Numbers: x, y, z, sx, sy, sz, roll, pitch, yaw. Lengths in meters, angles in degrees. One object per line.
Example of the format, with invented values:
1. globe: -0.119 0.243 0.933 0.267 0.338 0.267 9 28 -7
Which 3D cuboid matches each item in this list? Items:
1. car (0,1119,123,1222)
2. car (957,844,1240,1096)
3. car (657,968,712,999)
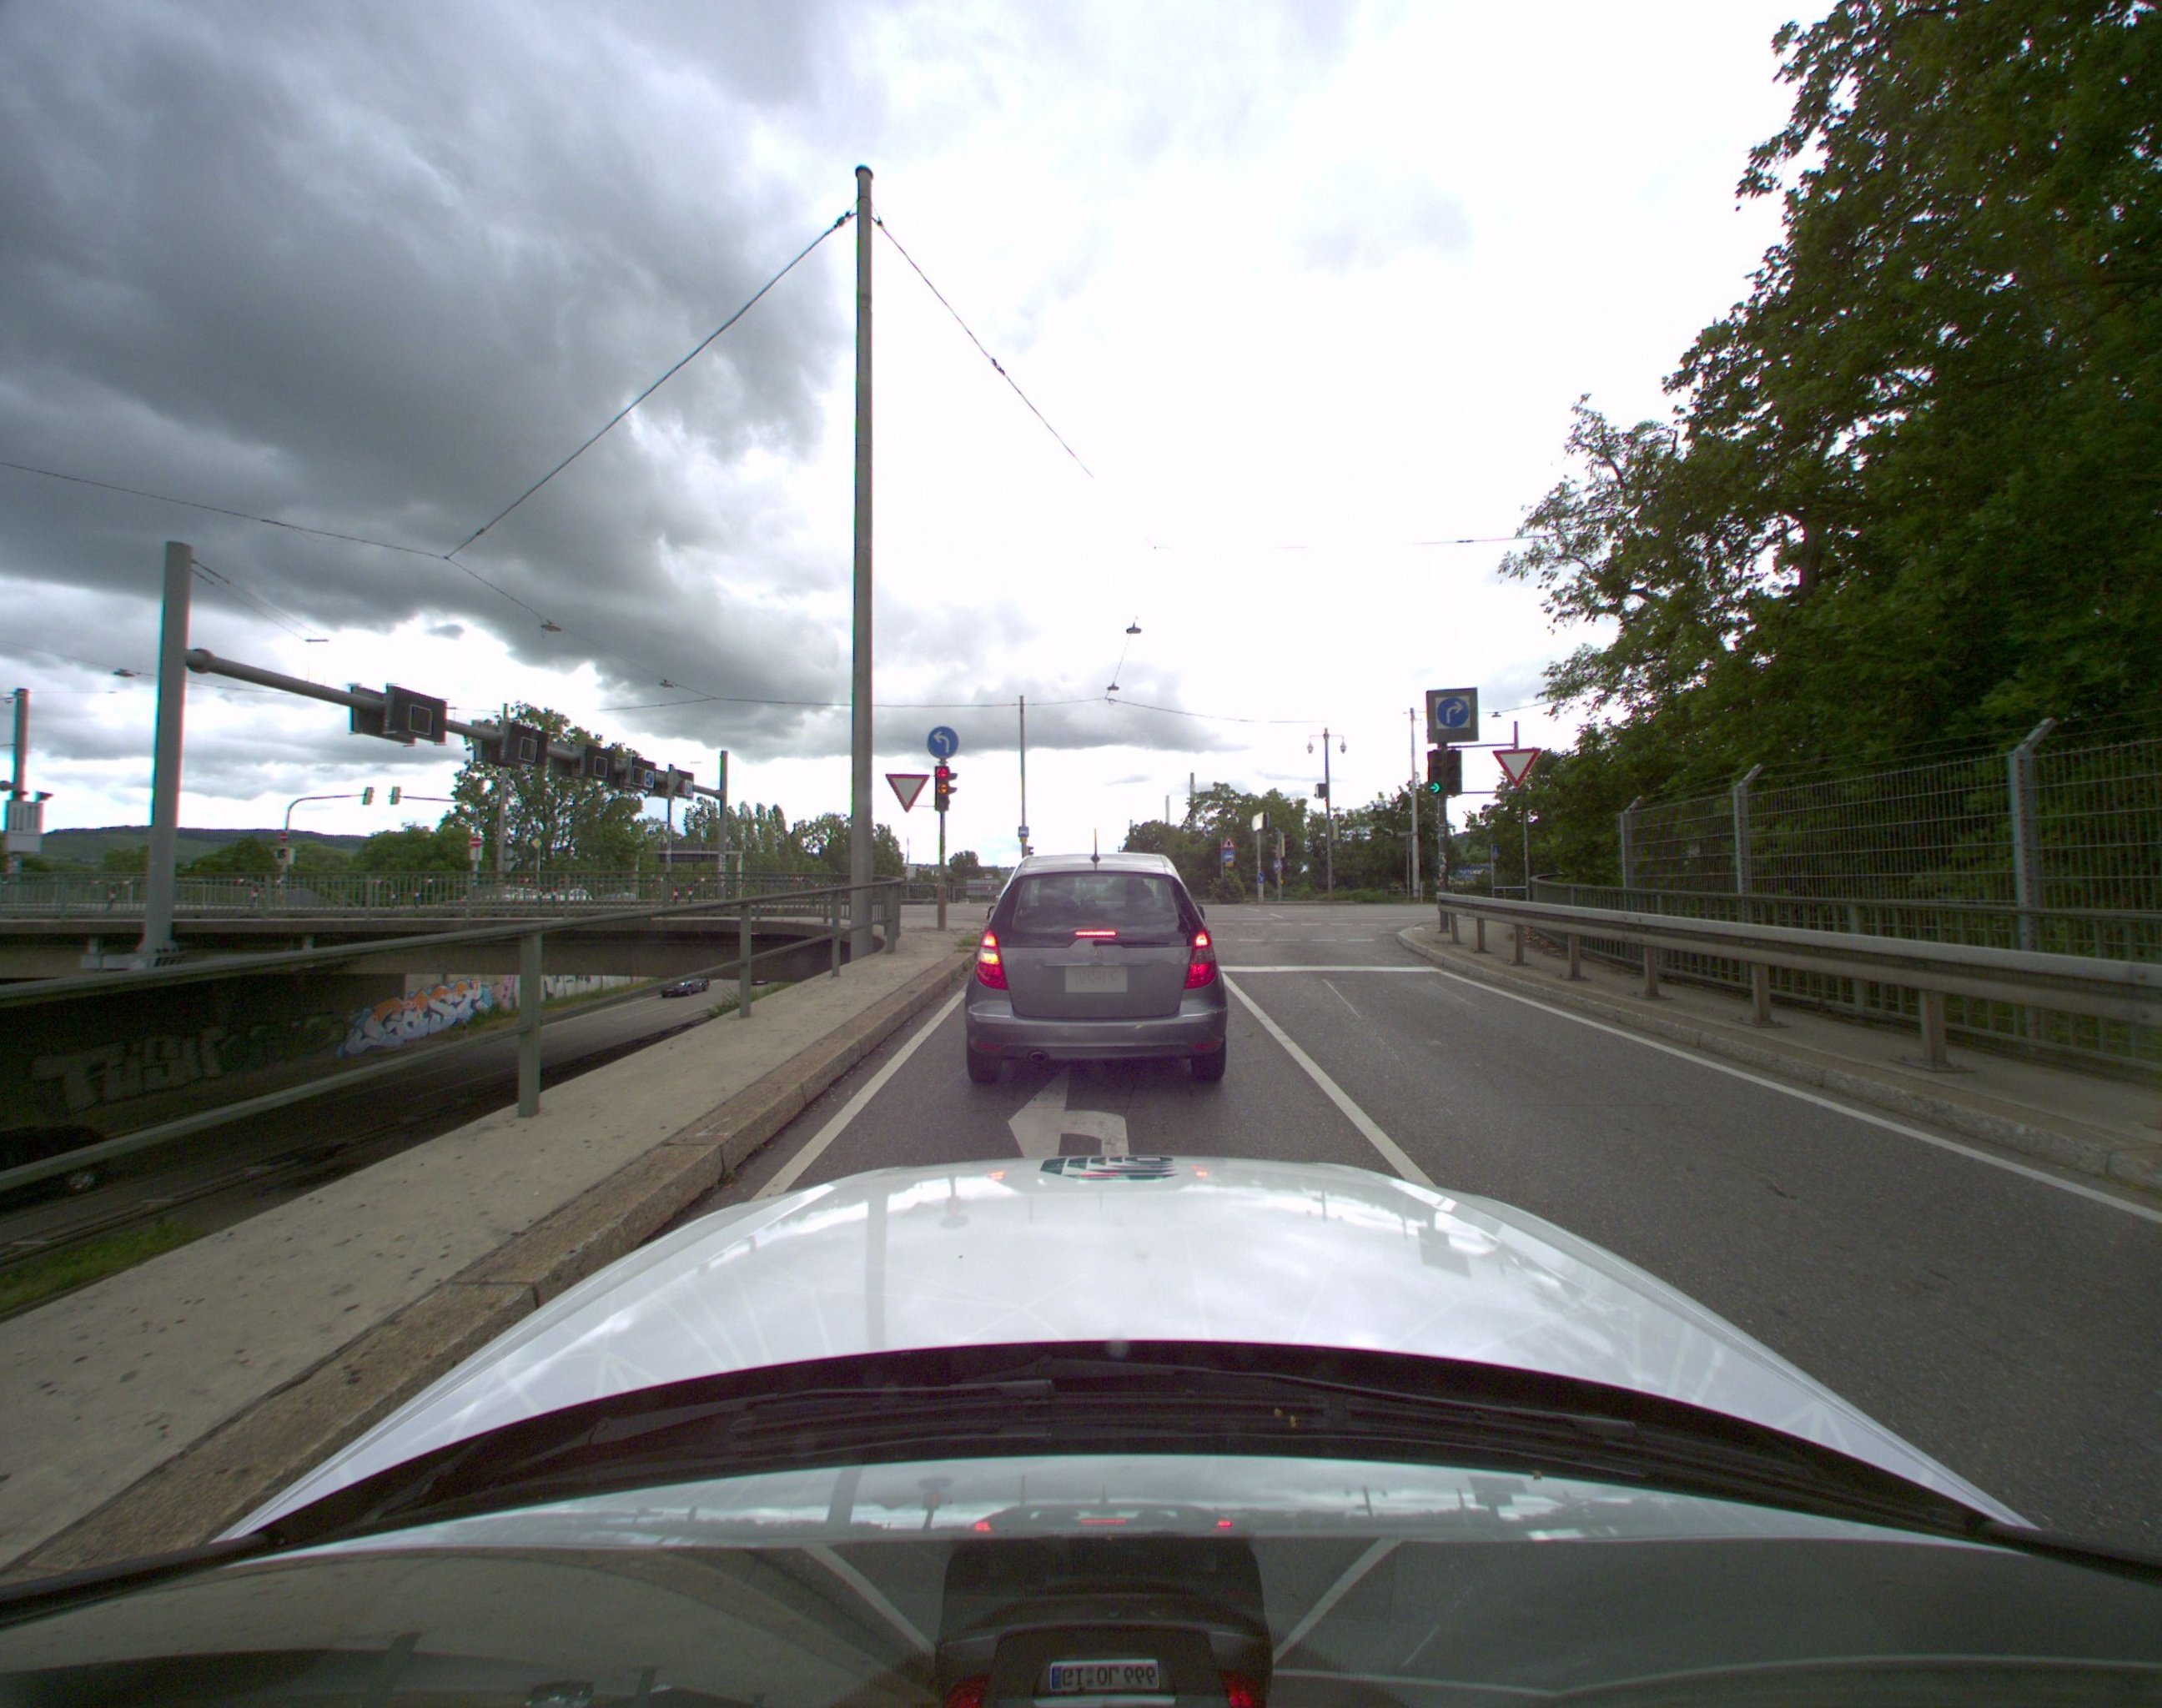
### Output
1. car: -24.718 7.356 18.251 1.659 1.621 4.001 -3 -3 2
2. car: 0.164 0.729 6.790 1.733 1.543 3.542 0 -1 2
3. car: -28.236 9.193 58.119 1.705 1.670 4.256 -2 -3 2
